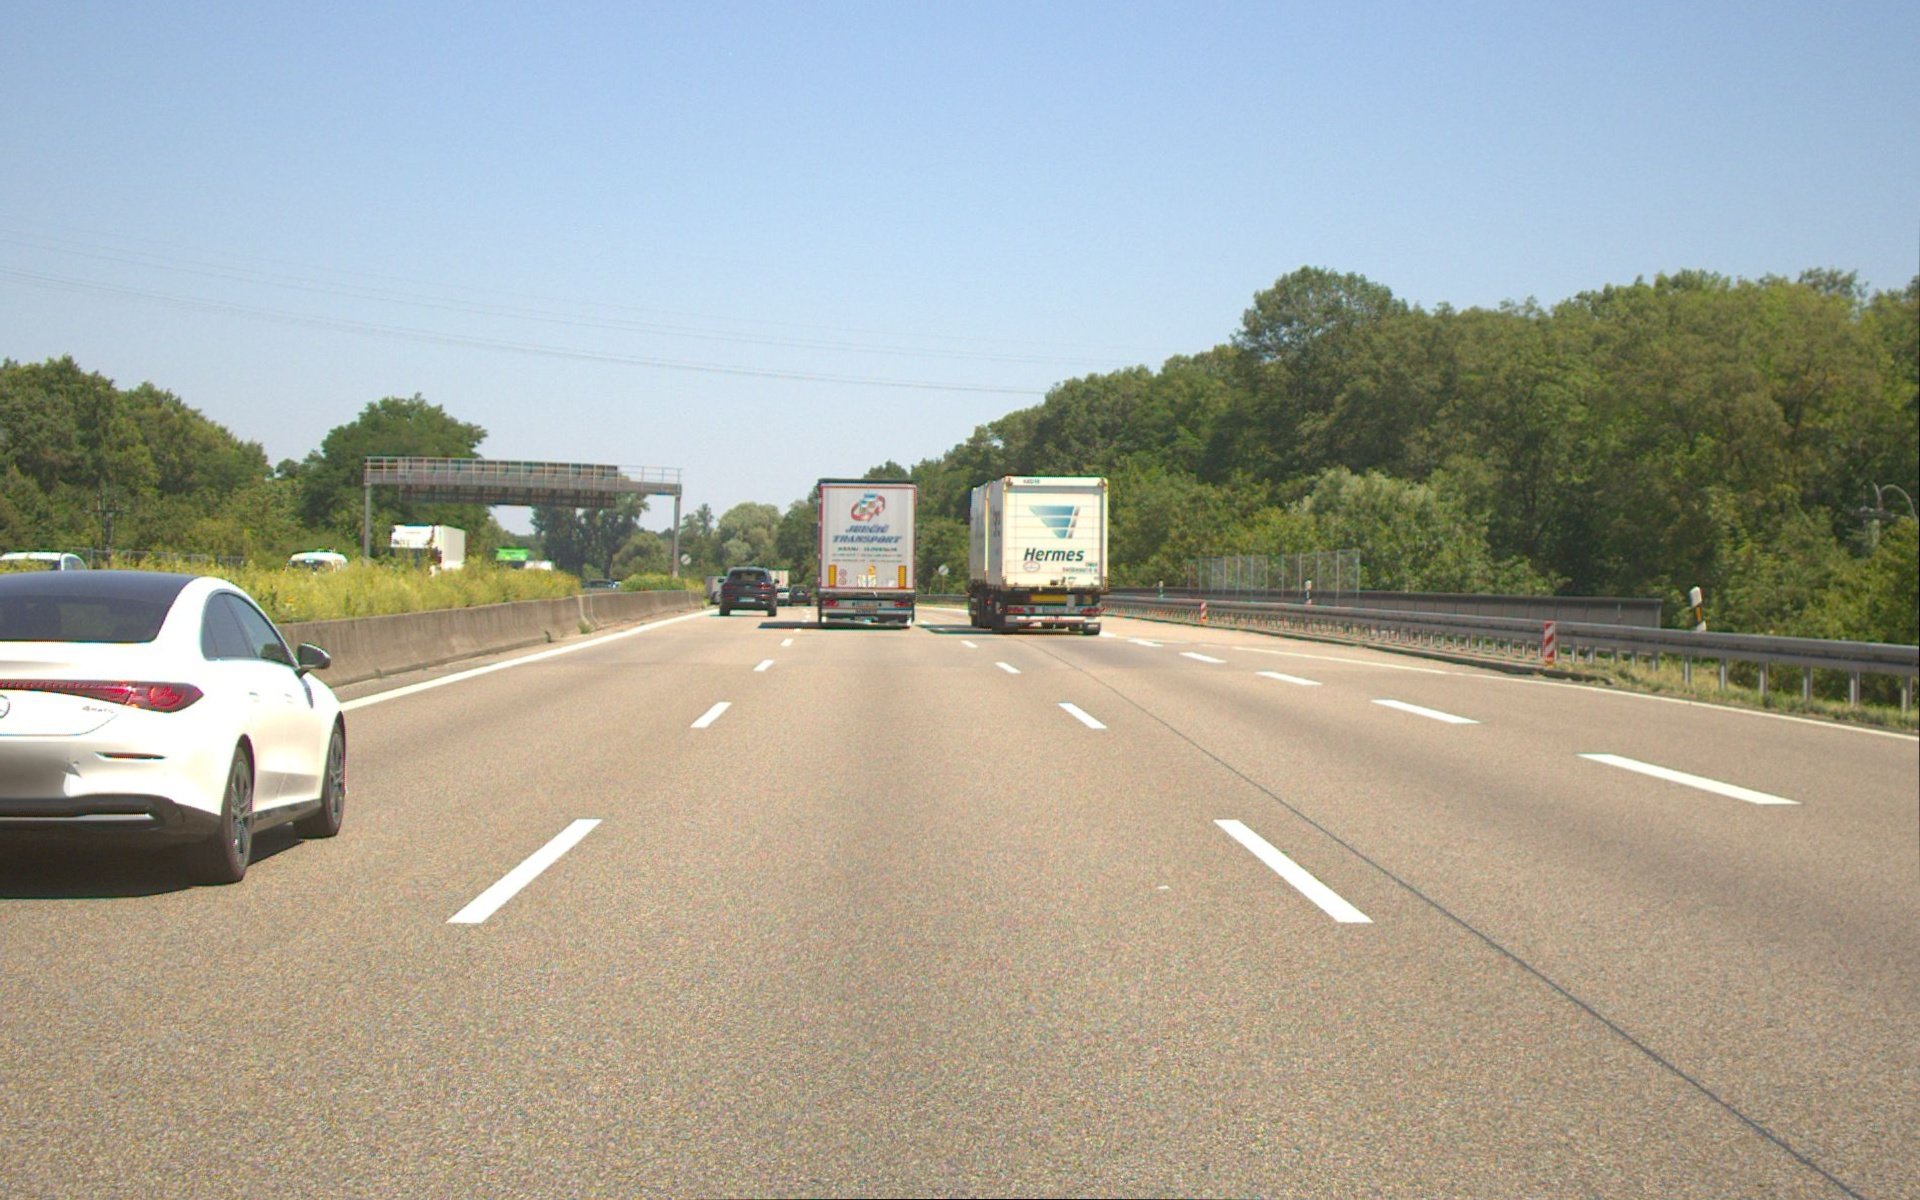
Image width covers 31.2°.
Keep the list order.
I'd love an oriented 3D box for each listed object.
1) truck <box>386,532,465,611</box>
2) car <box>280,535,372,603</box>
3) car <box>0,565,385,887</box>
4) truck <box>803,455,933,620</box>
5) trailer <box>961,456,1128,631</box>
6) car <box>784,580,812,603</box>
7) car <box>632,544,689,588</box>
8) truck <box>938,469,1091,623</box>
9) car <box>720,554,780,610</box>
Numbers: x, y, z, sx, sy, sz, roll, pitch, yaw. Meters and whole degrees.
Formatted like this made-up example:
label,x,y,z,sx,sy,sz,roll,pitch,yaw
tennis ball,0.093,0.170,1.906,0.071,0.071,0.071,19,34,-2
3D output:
label,x,y,z,sx,sy,sz,roll,pitch,yaw
truck,-27.638,-1.507,178.017,3.048,3.963,8.288,1,1,-2
car,-20.199,-0.996,109.730,2.124,2.075,4.971,1,1,-1
car,-4.313,0.551,18.234,1.767,1.443,5.109,0,1,-1
truck,-2.559,-1.712,92.809,3.229,4.187,8.467,1,1,-3
trailer,2.027,-1.480,87.134,3.367,4.128,9.093,1,1,-4
car,-12.263,-0.655,259.557,1.993,1.590,4.001,1,2,-4
car,-13.984,-1.572,160.675,2.292,2.007,4.711,1,1,-1
truck,1.408,-1.573,96.725,3.325,4.039,10.956,1,2,-4
car,-7.495,-0.658,122.305,1.993,1.868,4.001,1,2,-5
